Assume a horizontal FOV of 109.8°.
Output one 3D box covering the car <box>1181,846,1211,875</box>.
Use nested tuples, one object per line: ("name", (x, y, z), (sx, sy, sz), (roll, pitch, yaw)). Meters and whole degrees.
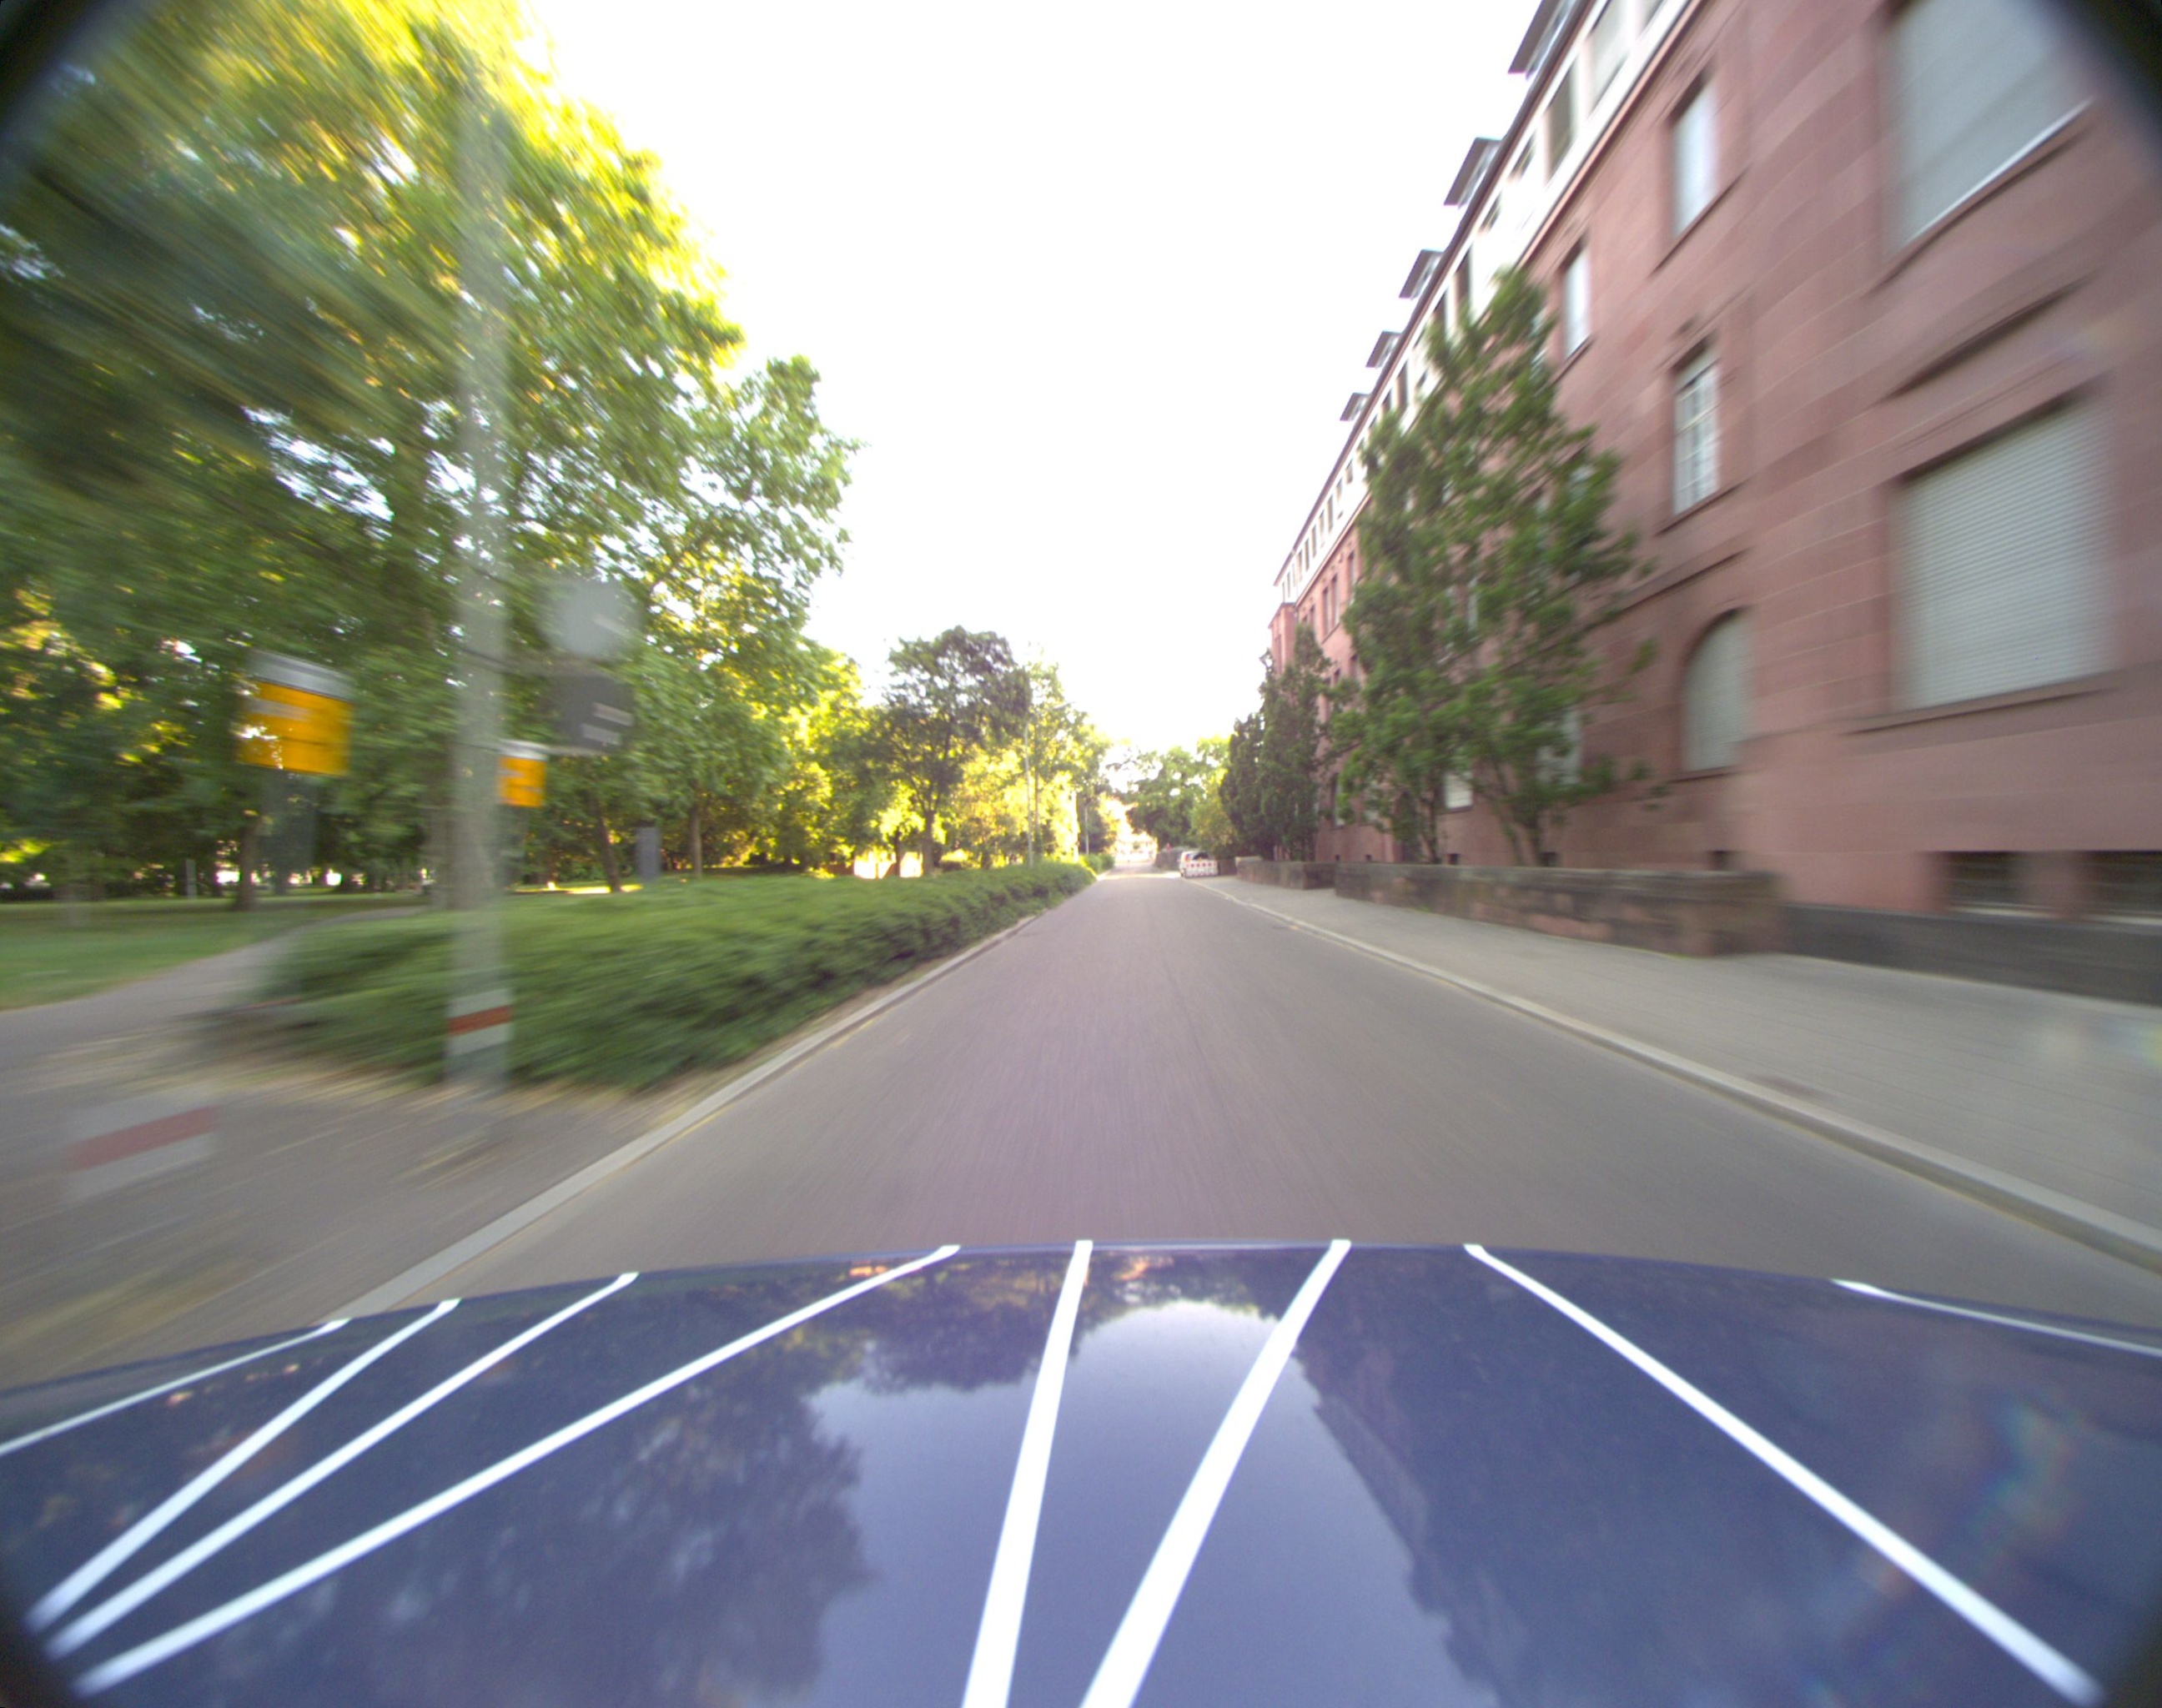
("car", (8.672, 0.473, 57.739), (1.886, 2.040, 4.325), (-1, 1, 4))
